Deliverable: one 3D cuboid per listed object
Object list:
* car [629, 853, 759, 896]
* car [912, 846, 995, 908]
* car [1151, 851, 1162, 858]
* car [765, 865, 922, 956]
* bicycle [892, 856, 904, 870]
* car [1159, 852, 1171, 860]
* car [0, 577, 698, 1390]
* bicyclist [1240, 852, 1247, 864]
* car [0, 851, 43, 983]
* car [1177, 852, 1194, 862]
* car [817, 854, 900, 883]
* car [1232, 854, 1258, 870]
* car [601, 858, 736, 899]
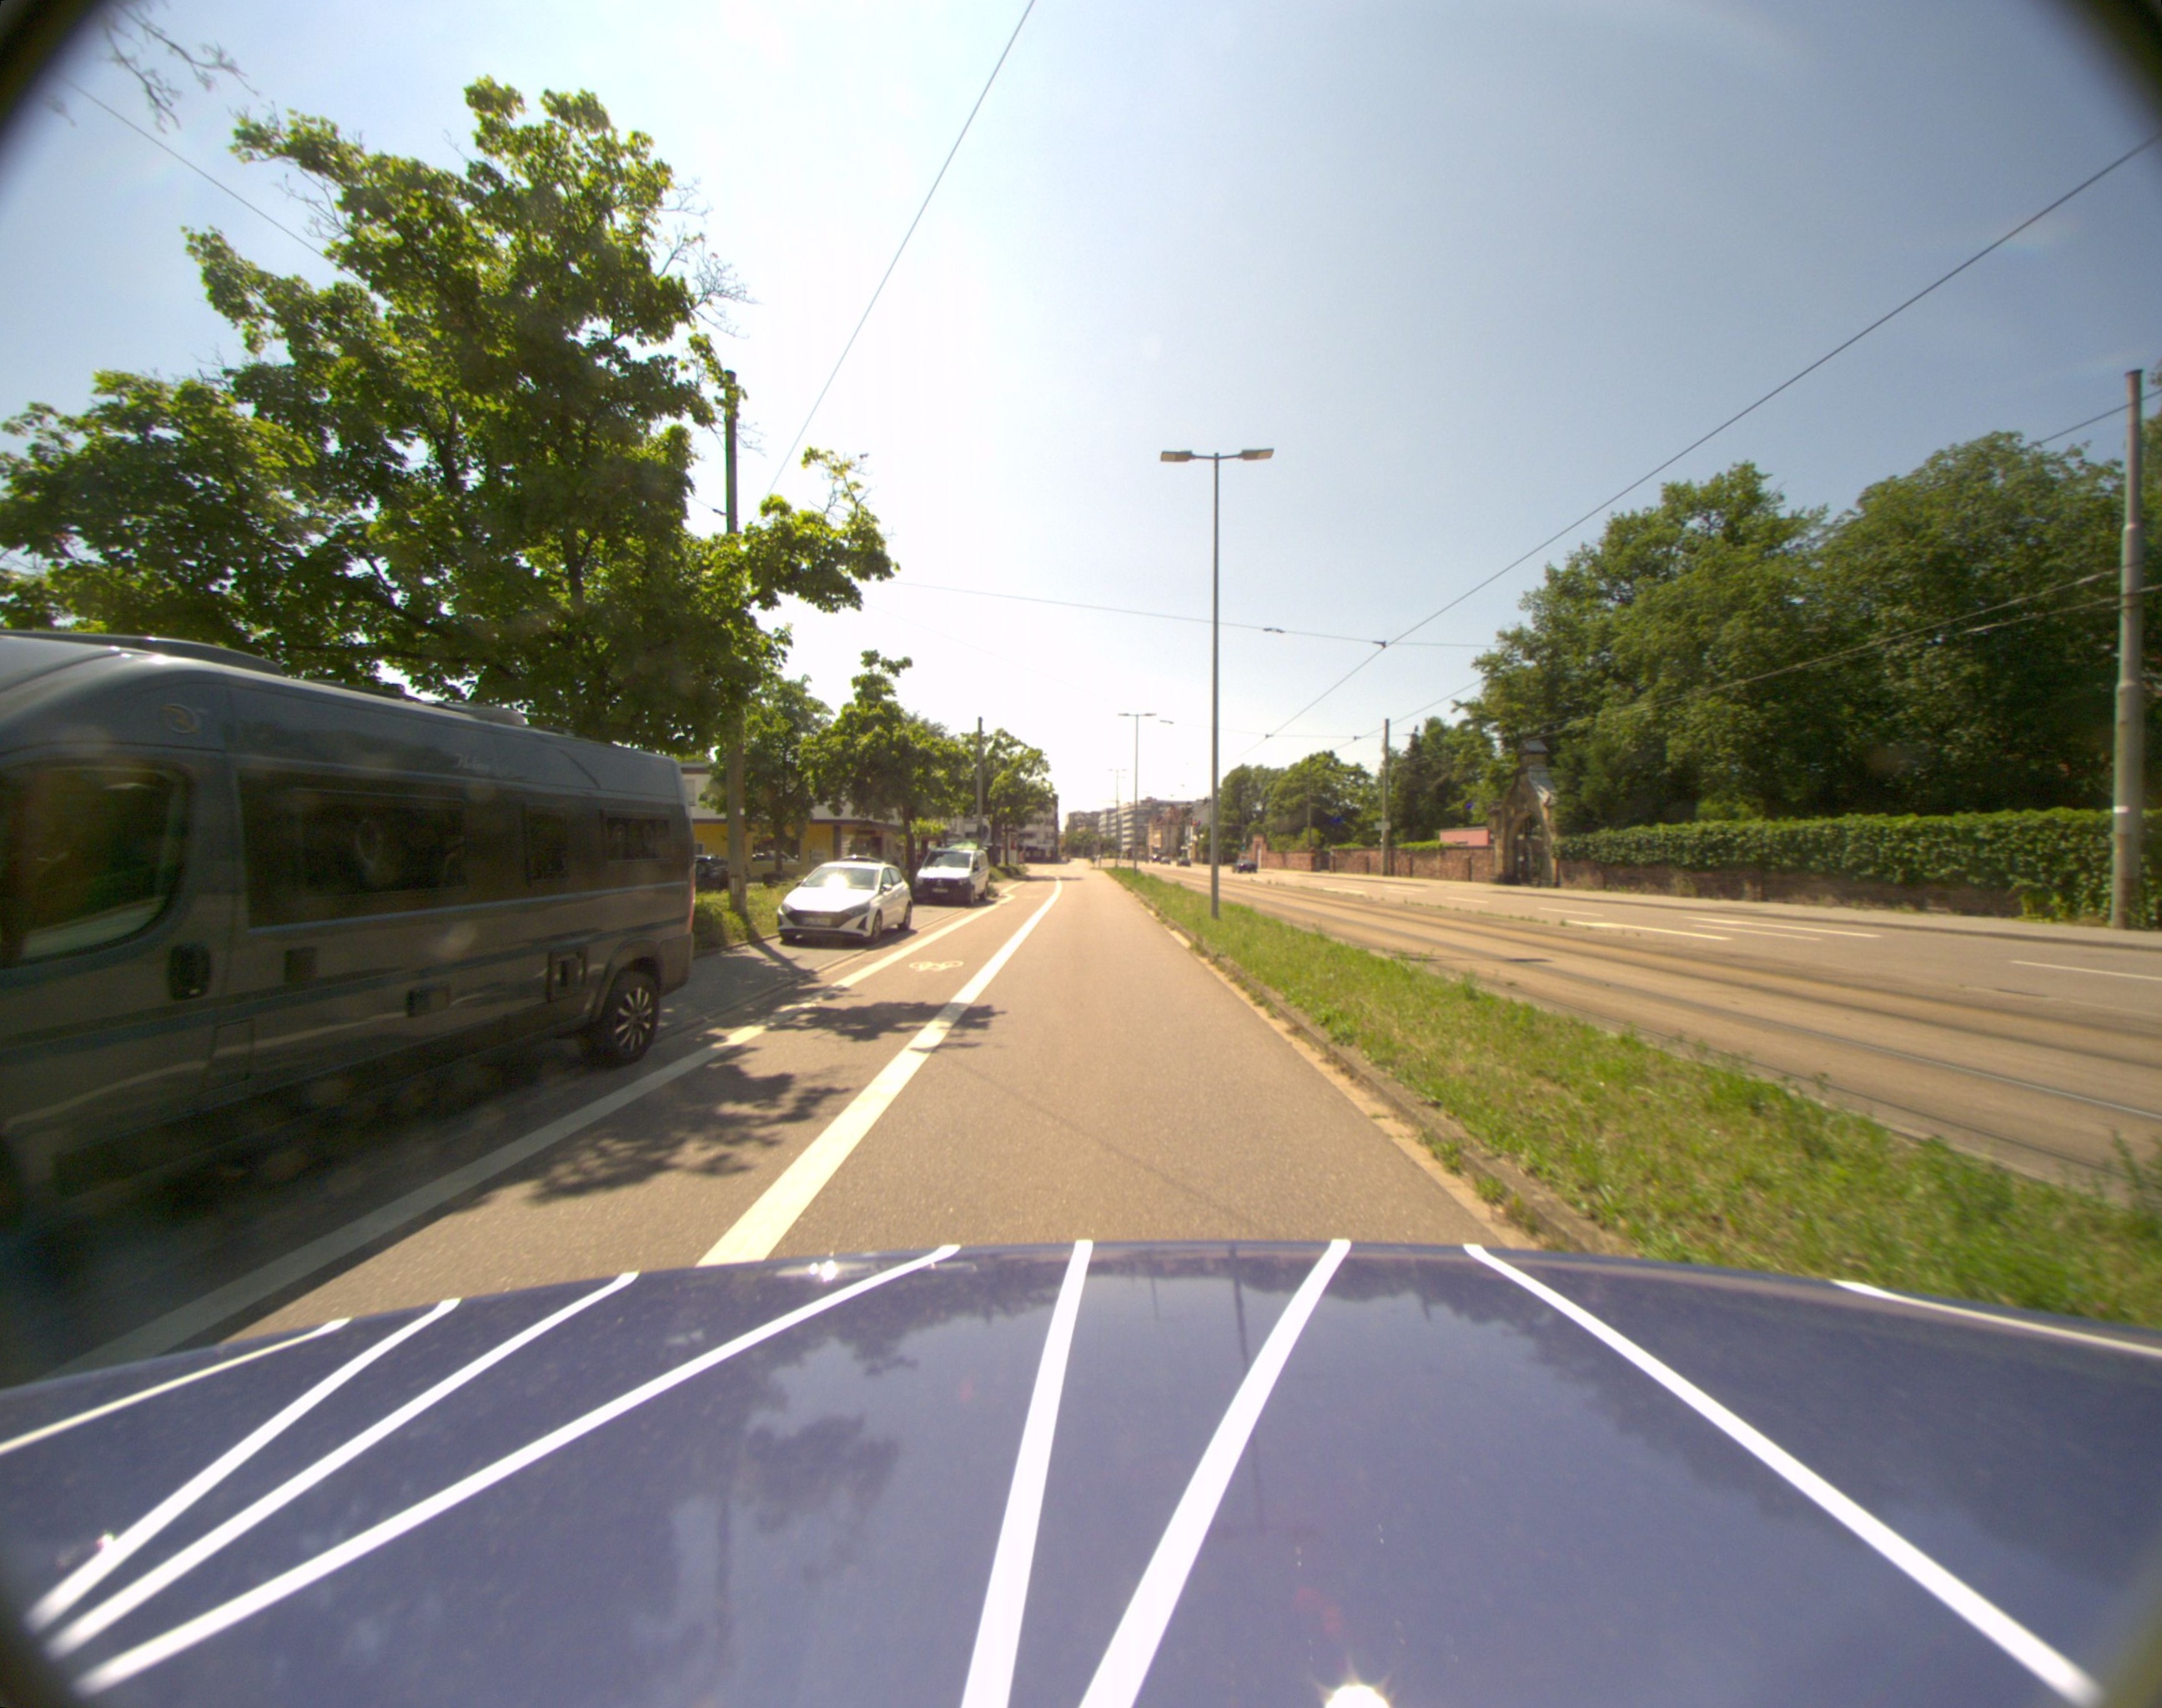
[{"bbox_3d":[-15.274,0.788,30.150,4.210,1.481,1.678,-2,1,-1],"label":"car"},{"bbox_3d":[-4.351,0.730,26.704,1.884,1.905,5.124,2,0,1],"label":"car"},{"bbox_3d":[15.855,0.114,160.386,1.845,1.546,4.465,0,0,0],"label":"car"},{"bbox_3d":[-4.531,1.000,15.167,1.726,1.419,4.209,2,0,1],"label":"car"},{"bbox_3d":[-14.389,0.705,59.747,0.544,1.062,1.900,0,0,-4],"label":"bicycle"},{"bbox_3d":[15.809,0.445,143.292,1.845,1.408,4.710,-3,0,1],"label":"car"},{"bbox_3d":[-4.465,0.391,3.742,2.003,2.621,6.078,2,0,0],"label":"car"},{"bbox_3d":[19.818,0.463,92.763,0.654,1.488,0.662,-1,1,-1],"label":"bicyclist"},{"bbox_3d":[-15.654,0.882,9.323,3.380,1.707,1.728,-2,1,1],"label":"car"},{"bbox_3d":[15.958,0.487,116.415,1.845,1.408,5.033,-3,0,1],"label":"car"},{"bbox_3d":[-12.625,0.827,43.325,4.150,1.601,1.944,0,1,-3],"label":"car"},{"bbox_3d":[15.805,0.722,73.401,1.760,1.440,4.123,-2,0,2],"label":"car"},{"bbox_3d":[-14.905,0.852,27.587,3.896,1.273,1.727,-2,1,-1],"label":"car"}]
